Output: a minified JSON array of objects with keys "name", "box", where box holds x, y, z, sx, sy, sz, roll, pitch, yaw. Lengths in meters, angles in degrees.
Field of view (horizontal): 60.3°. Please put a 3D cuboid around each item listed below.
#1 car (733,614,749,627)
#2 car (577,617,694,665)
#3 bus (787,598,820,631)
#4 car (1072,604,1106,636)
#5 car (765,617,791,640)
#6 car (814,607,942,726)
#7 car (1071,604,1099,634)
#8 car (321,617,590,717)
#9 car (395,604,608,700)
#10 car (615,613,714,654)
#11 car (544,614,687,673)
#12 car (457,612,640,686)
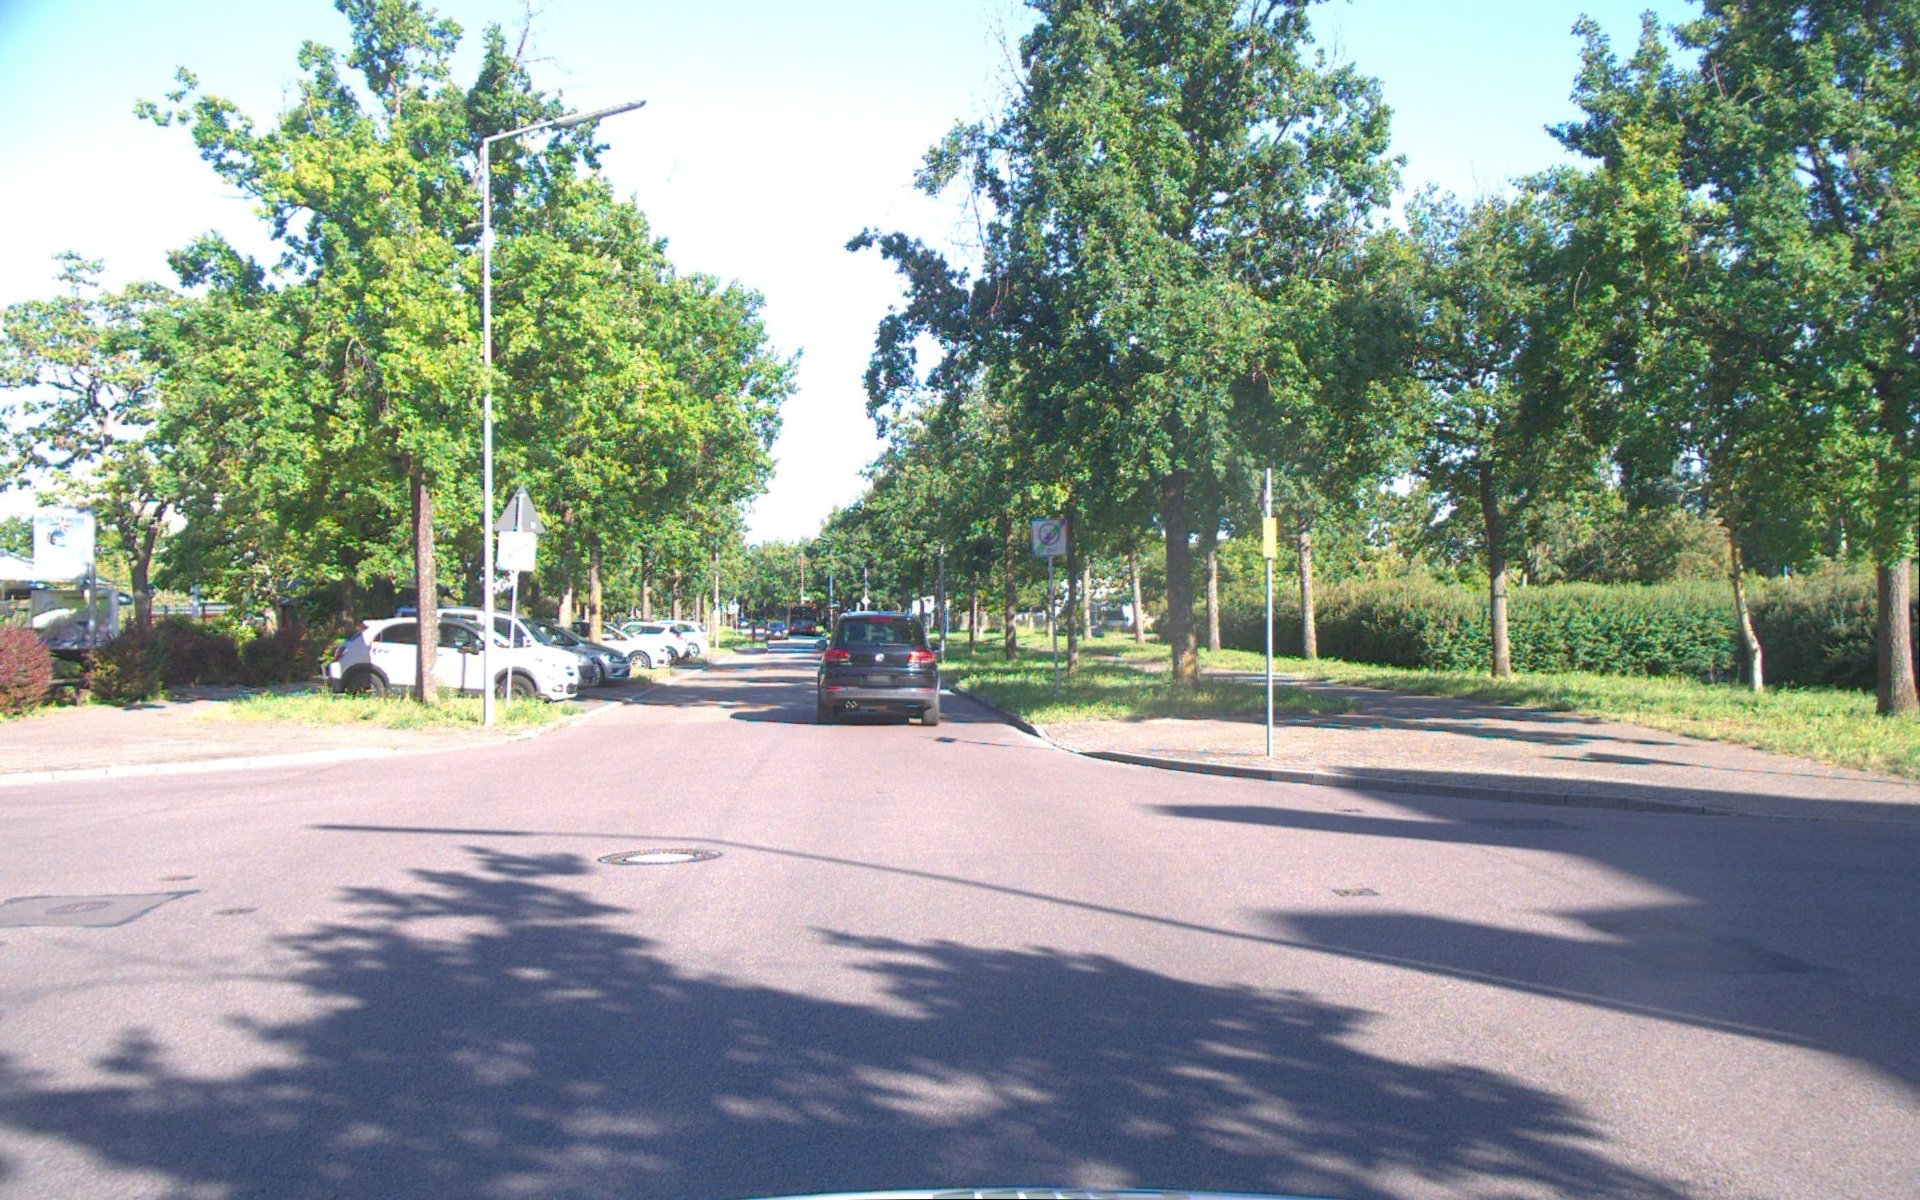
[{"name":"car","box":[-28.906,2.720,218.343,1.789,1.579,3.686,-1,0,-4]},{"name":"car","box":[-11.718,1.466,59.826,3.937,1.676,1.809,0,-1,-4]},{"name":"bus","box":[-14.985,1.382,158.474,2.870,3.056,5.732,0,-1,-3]},{"name":"car","box":[8.378,1.271,107.975,2.011,2.049,4.001,-1,0,2]},{"name":"car","box":[-13.902,2.189,126.355,1.816,1.723,3.952,0,-1,-4]},{"name":"car","box":[-1.227,0.957,25.438,1.801,1.665,3.956,0,0,-2]},{"name":"car","box":[8.948,1.384,118.180,1.951,2.049,4.002,-1,-1,4]},{"name":"car","box":[-8.758,1.150,29.000,4.158,1.651,1.895,0,-1,-4]},{"name":"car","box":[-9.454,1.047,34.376,3.937,1.872,1.895,-1,0,-4]},{"name":"car","box":[-12.542,1.413,70.300,3.937,1.676,1.810,-1,0,-4]},{"name":"car","box":[-10.249,1.284,49.382,3.937,1.676,1.809,0,-1,-4]},{"name":"car","box":[-9.743,1.148,39.390,3.937,1.676,1.895,0,-1,-4]}]
